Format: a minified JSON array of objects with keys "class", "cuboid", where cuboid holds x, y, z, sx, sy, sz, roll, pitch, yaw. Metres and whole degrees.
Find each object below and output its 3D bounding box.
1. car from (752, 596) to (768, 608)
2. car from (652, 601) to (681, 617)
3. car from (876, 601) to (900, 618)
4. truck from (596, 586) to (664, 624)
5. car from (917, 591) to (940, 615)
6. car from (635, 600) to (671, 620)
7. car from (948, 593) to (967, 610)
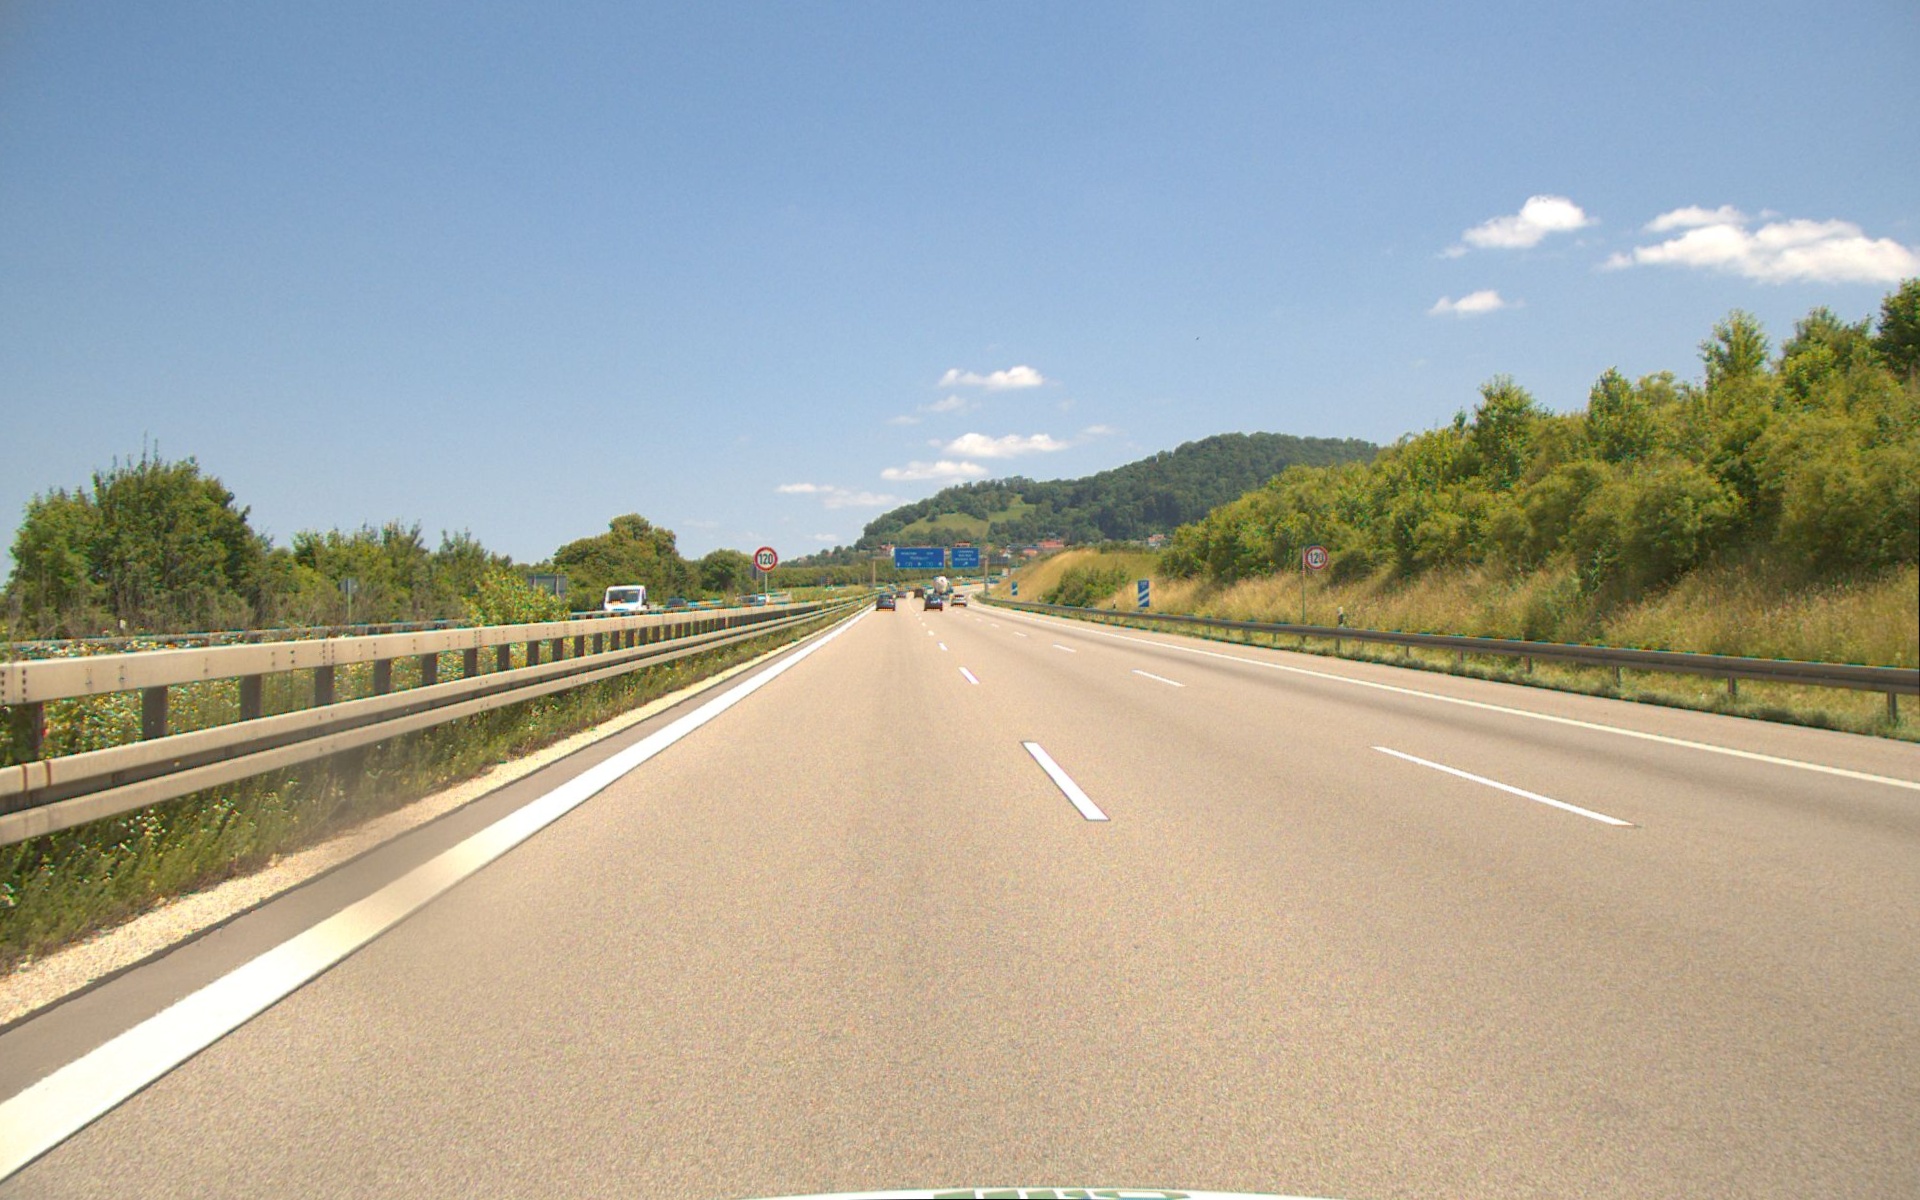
[{"class":"car","cuboid":[-27.634,0.245,228.531,1.848,1.567,3.999,1,-1,-1]},{"class":"car","cuboid":[-23.595,0.737,133.169,1.680,1.285,3.732,1,-1,-1]},{"class":"car","cuboid":[-6.200,0.829,142.518,1.953,1.413,3.998,1,-1,-2]},{"class":"truck","cuboid":[-16.957,0.290,85.202,2.379,1.869,5.725,1,-1,-1]},{"class":"car","cuboid":[-2.781,0.261,145.851,1.953,2.049,3.998,1,-1,-2]},{"class":"car","cuboid":[-20.387,0.693,110.002,1.705,1.285,3.677,1,-1,-1]},{"class":"car","cuboid":[-0.291,0.205,188.428,1.953,1.850,3.999,-1,0,-2]}]
